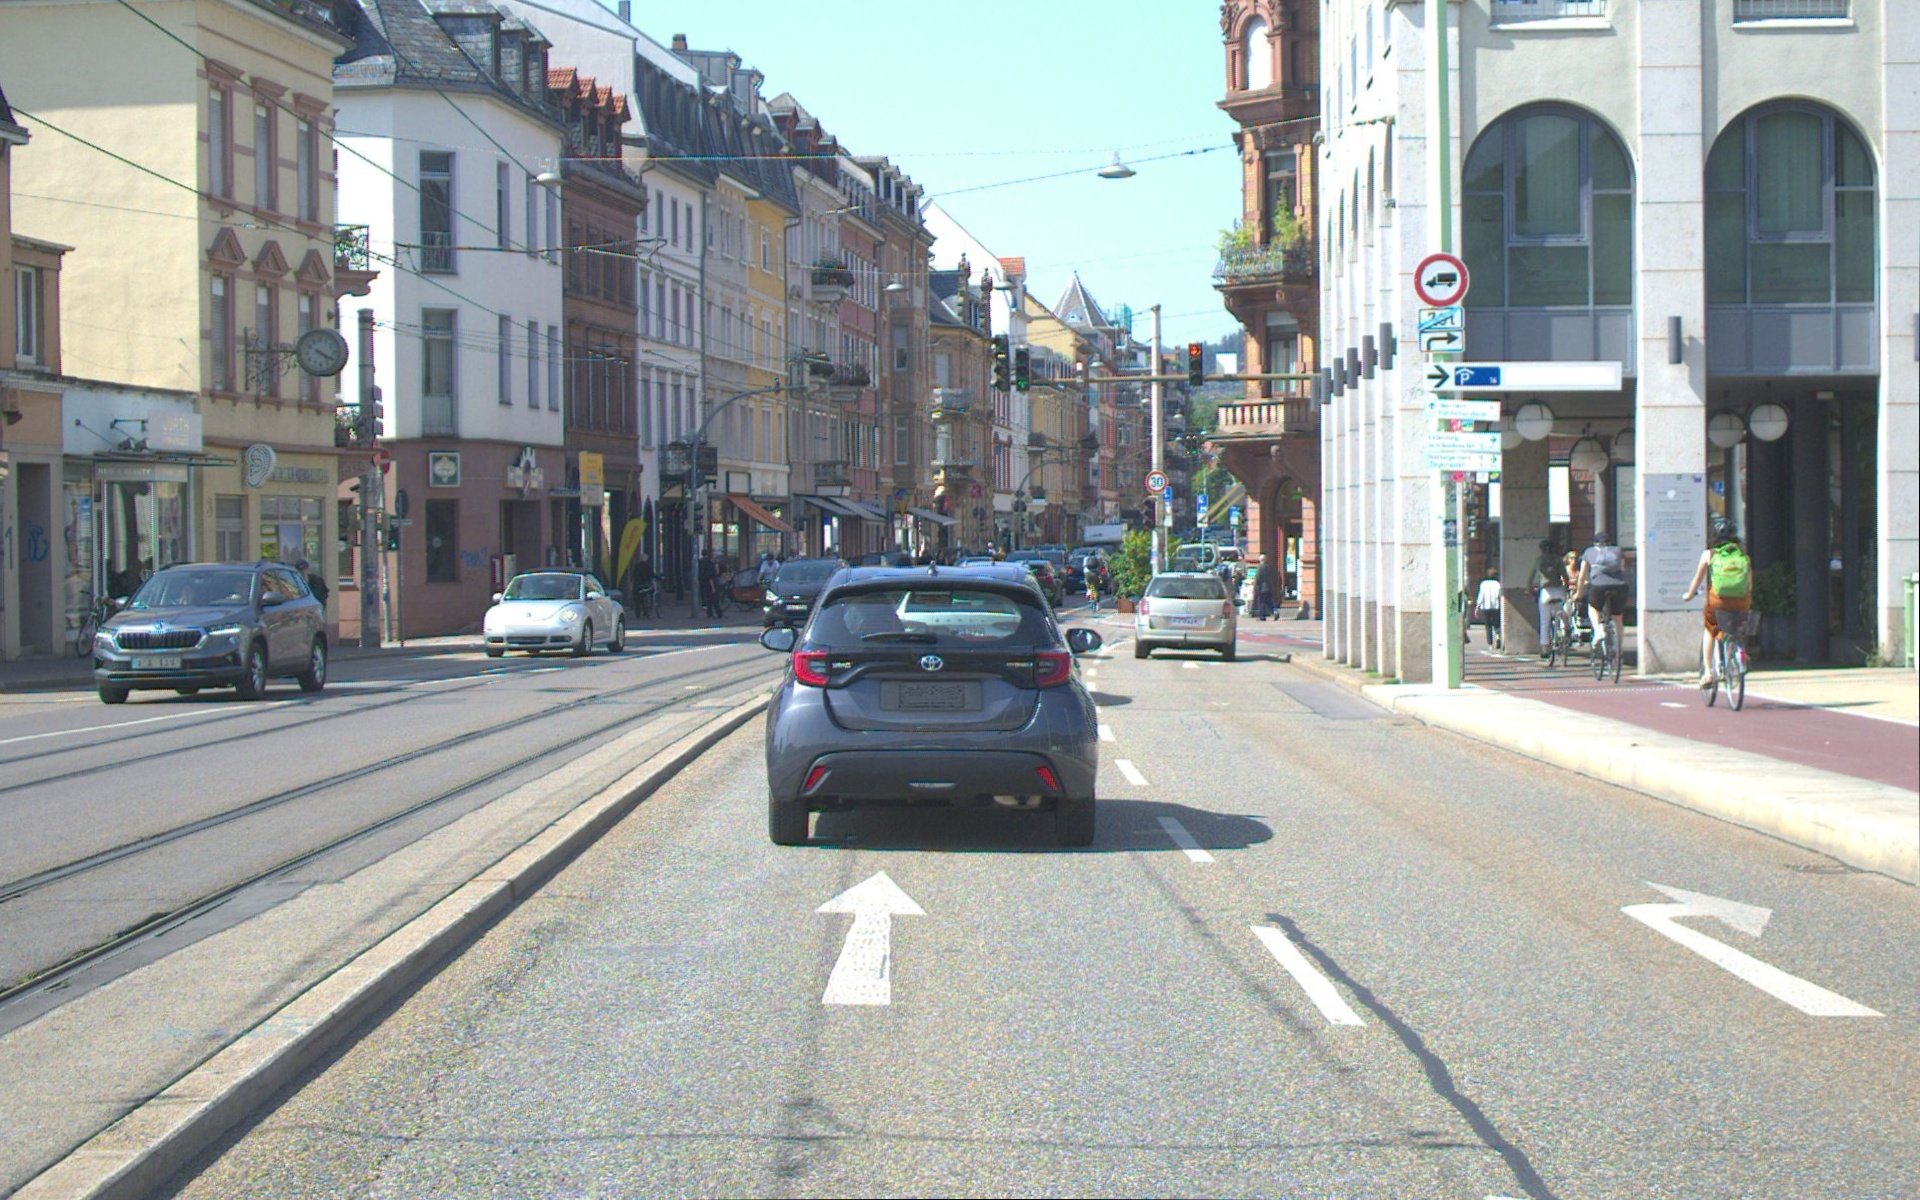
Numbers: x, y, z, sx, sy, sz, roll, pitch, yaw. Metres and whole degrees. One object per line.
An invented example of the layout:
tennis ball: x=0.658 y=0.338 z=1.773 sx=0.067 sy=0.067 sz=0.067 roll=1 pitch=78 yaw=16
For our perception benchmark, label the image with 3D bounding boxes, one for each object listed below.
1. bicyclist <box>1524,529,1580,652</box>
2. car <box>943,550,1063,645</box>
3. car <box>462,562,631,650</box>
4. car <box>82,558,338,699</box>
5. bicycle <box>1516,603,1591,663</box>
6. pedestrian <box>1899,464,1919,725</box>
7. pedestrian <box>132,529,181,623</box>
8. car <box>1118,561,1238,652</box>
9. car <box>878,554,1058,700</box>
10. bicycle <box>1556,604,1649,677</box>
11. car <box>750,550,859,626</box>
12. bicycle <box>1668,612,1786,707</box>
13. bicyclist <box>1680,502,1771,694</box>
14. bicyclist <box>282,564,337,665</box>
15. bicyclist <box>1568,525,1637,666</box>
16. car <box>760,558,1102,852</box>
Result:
bicyclist: x=8.034 y=-0.129 z=46.670 sx=0.586 sy=1.645 sz=0.702 roll=-2 pitch=1 yaw=-2
car: x=0.686 y=-0.070 z=57.763 sx=1.897 sy=1.525 sz=4.000 roll=1 pitch=1 yaw=-1
car: x=-7.039 y=0.081 z=58.916 sx=1.994 sy=1.427 sz=3.999 roll=1 pitch=0 yaw=6
car: x=-8.606 y=0.291 z=39.752 sx=1.794 sy=1.540 sz=3.920 roll=-1 pitch=1 yaw=5
bicycle: x=8.038 y=0.438 z=46.640 sx=0.593 sy=0.763 sz=1.867 roll=-2 pitch=1 yaw=-3
pedestrian: x=7.453 y=-0.043 z=25.126 sx=0.811 sy=1.918 sz=1.127 roll=-1 pitch=1 yaw=-1
pedestrian: x=-14.137 y=-0.421 z=60.508 sx=0.649 sy=1.596 sz=0.566 roll=4 pitch=3 yaw=0
car: x=3.689 y=0.079 z=58.824 sx=1.705 sy=1.461 sz=4.326 roll=1 pitch=1 yaw=-1
car: x=0.057 y=0.258 z=38.534 sx=1.897 sy=1.525 sz=4.000 roll=1 pitch=1 yaw=-1
bicycle: x=7.217 y=0.449 z=38.678 sx=0.593 sy=0.763 sz=1.831 roll=-2 pitch=1 yaw=-3
car: x=-3.671 y=-0.301 z=81.986 sx=1.994 sy=1.766 sz=3.999 roll=0 pitch=0 yaw=6
bicycle: x=6.693 y=0.507 z=30.067 sx=0.593 sy=0.763 sz=1.867 roll=-2 pitch=1 yaw=0
bicyclist: x=6.678 y=-0.023 z=30.018 sx=0.605 sy=1.645 sz=0.702 roll=-1 pitch=1 yaw=0
bicyclist: x=-10.831 y=0.229 z=57.247 sx=0.705 sy=1.644 sz=0.621 roll=2 pitch=2 yaw=9
bicyclist: x=7.212 y=-0.054 z=38.616 sx=0.586 sy=1.553 sz=0.702 roll=-2 pitch=1 yaw=-2
car: x=-0.172 y=0.513 z=19.317 sx=1.720 sy=1.468 sz=3.658 roll=1 pitch=1 yaw=-1
